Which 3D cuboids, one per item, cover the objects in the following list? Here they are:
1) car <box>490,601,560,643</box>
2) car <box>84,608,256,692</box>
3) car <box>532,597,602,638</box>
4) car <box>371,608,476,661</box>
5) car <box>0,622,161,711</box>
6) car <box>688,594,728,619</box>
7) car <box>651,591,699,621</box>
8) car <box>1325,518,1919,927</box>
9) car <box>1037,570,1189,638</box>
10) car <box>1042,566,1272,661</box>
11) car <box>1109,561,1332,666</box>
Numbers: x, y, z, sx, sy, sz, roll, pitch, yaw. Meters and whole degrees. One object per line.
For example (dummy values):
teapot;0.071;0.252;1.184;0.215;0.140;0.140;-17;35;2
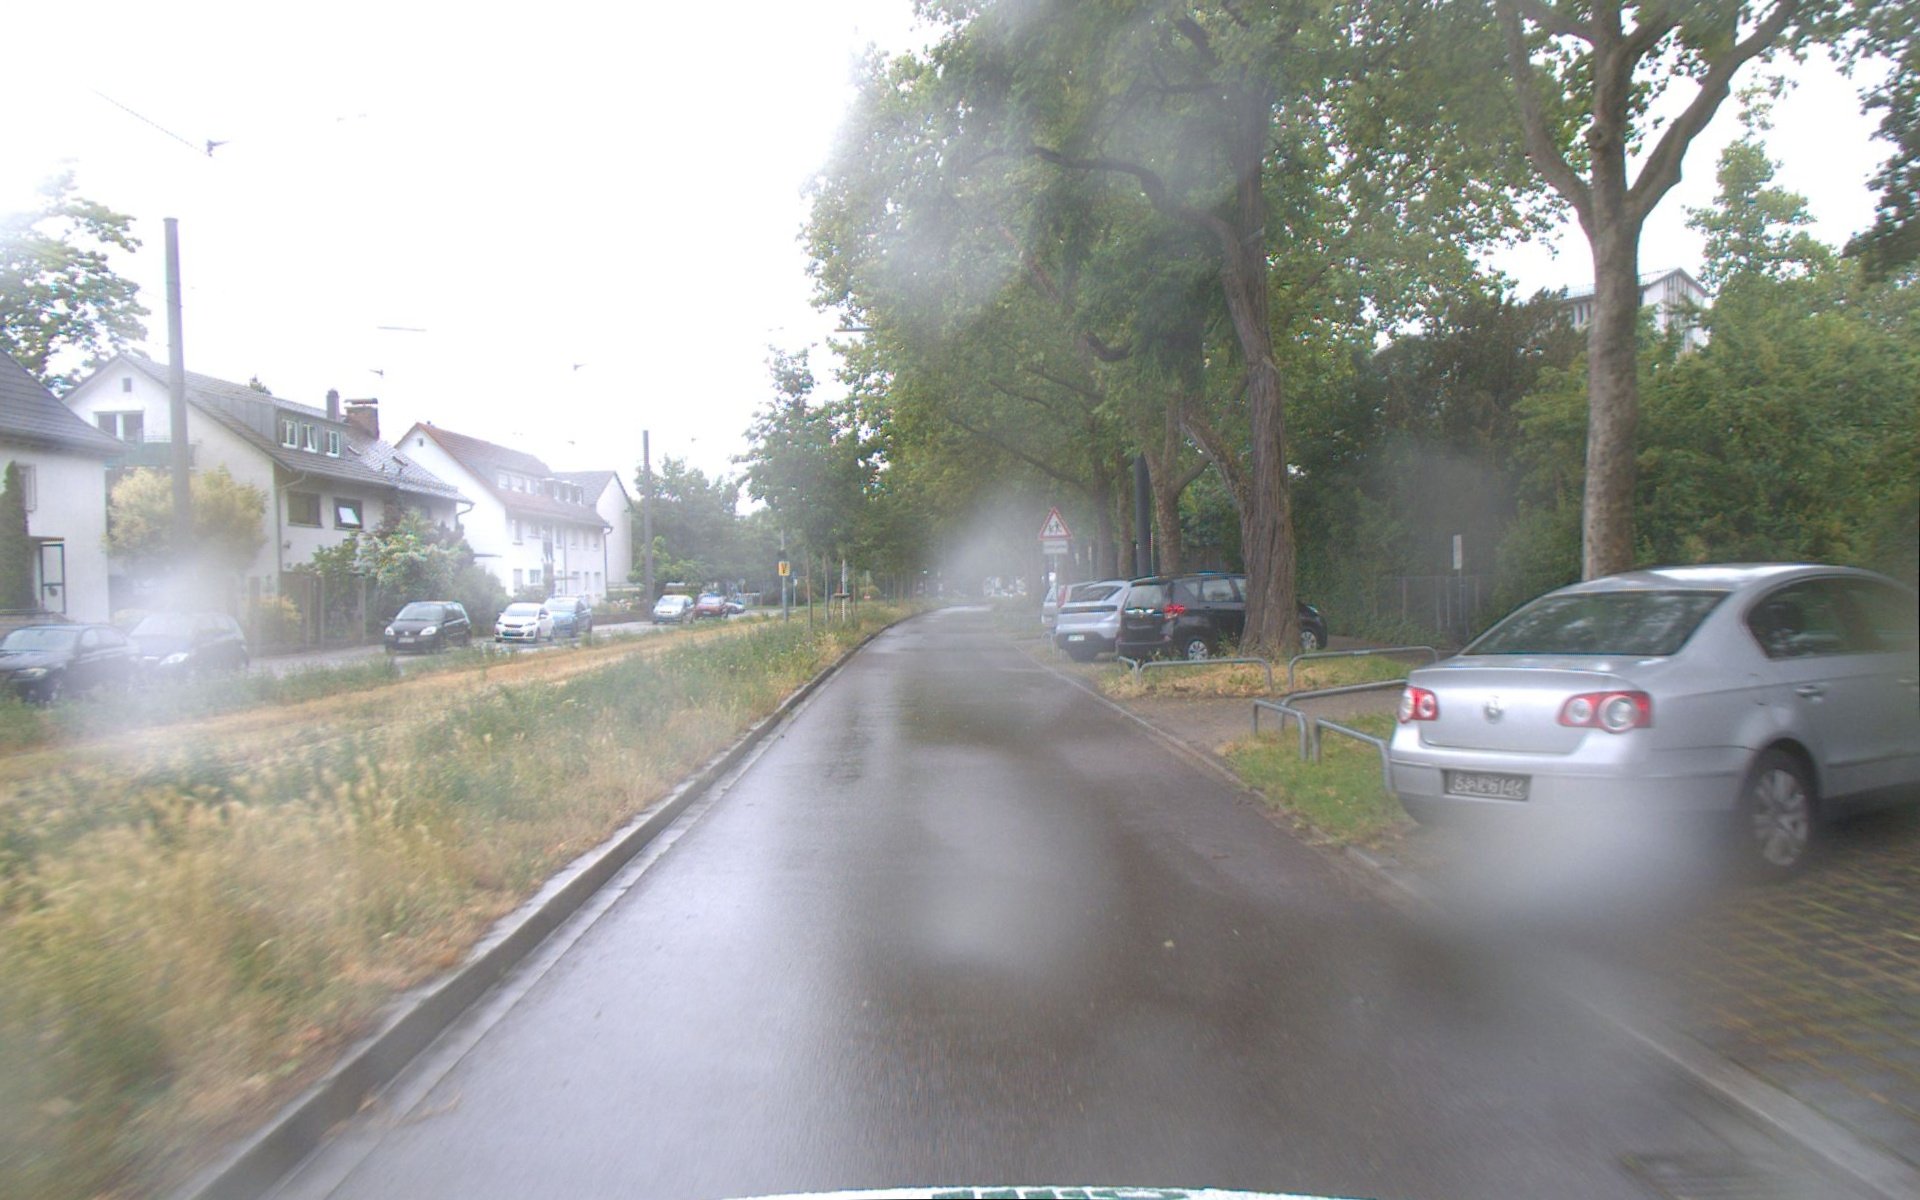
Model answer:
car;-16.834;0.846;64.133;1.759;1.514;3.597;0;1;0
car;-16.456;1.007;34.666;1.836;1.577;3.869;0;1;-2
car;-16.772;0.704;70.764;1.953;1.642;4.413;0;1;0
car;-16.870;1.057;52.222;1.953;1.542;4.205;0;1;0
car;-16.537;1.149;30.081;1.953;1.374;4.240;0;1;0
car;-16.501;0.412;108.396;1.953;1.514;4.205;0;1;0
car;-16.303;0.341;94.726;1.953;1.608;4.517;0;1;0
car;4.316;0.446;9.113;4.507;1.571;1.865;-6;2;-34
car;4.192;0.106;45.503;3.792;1.593;1.612;-4;1;-15
car;4.160;0.252;34.532;4.727;1.697;1.968;-3;1;-38
car;4.504;0.207;28.455;3.670;1.593;1.600;-3;1;-34
